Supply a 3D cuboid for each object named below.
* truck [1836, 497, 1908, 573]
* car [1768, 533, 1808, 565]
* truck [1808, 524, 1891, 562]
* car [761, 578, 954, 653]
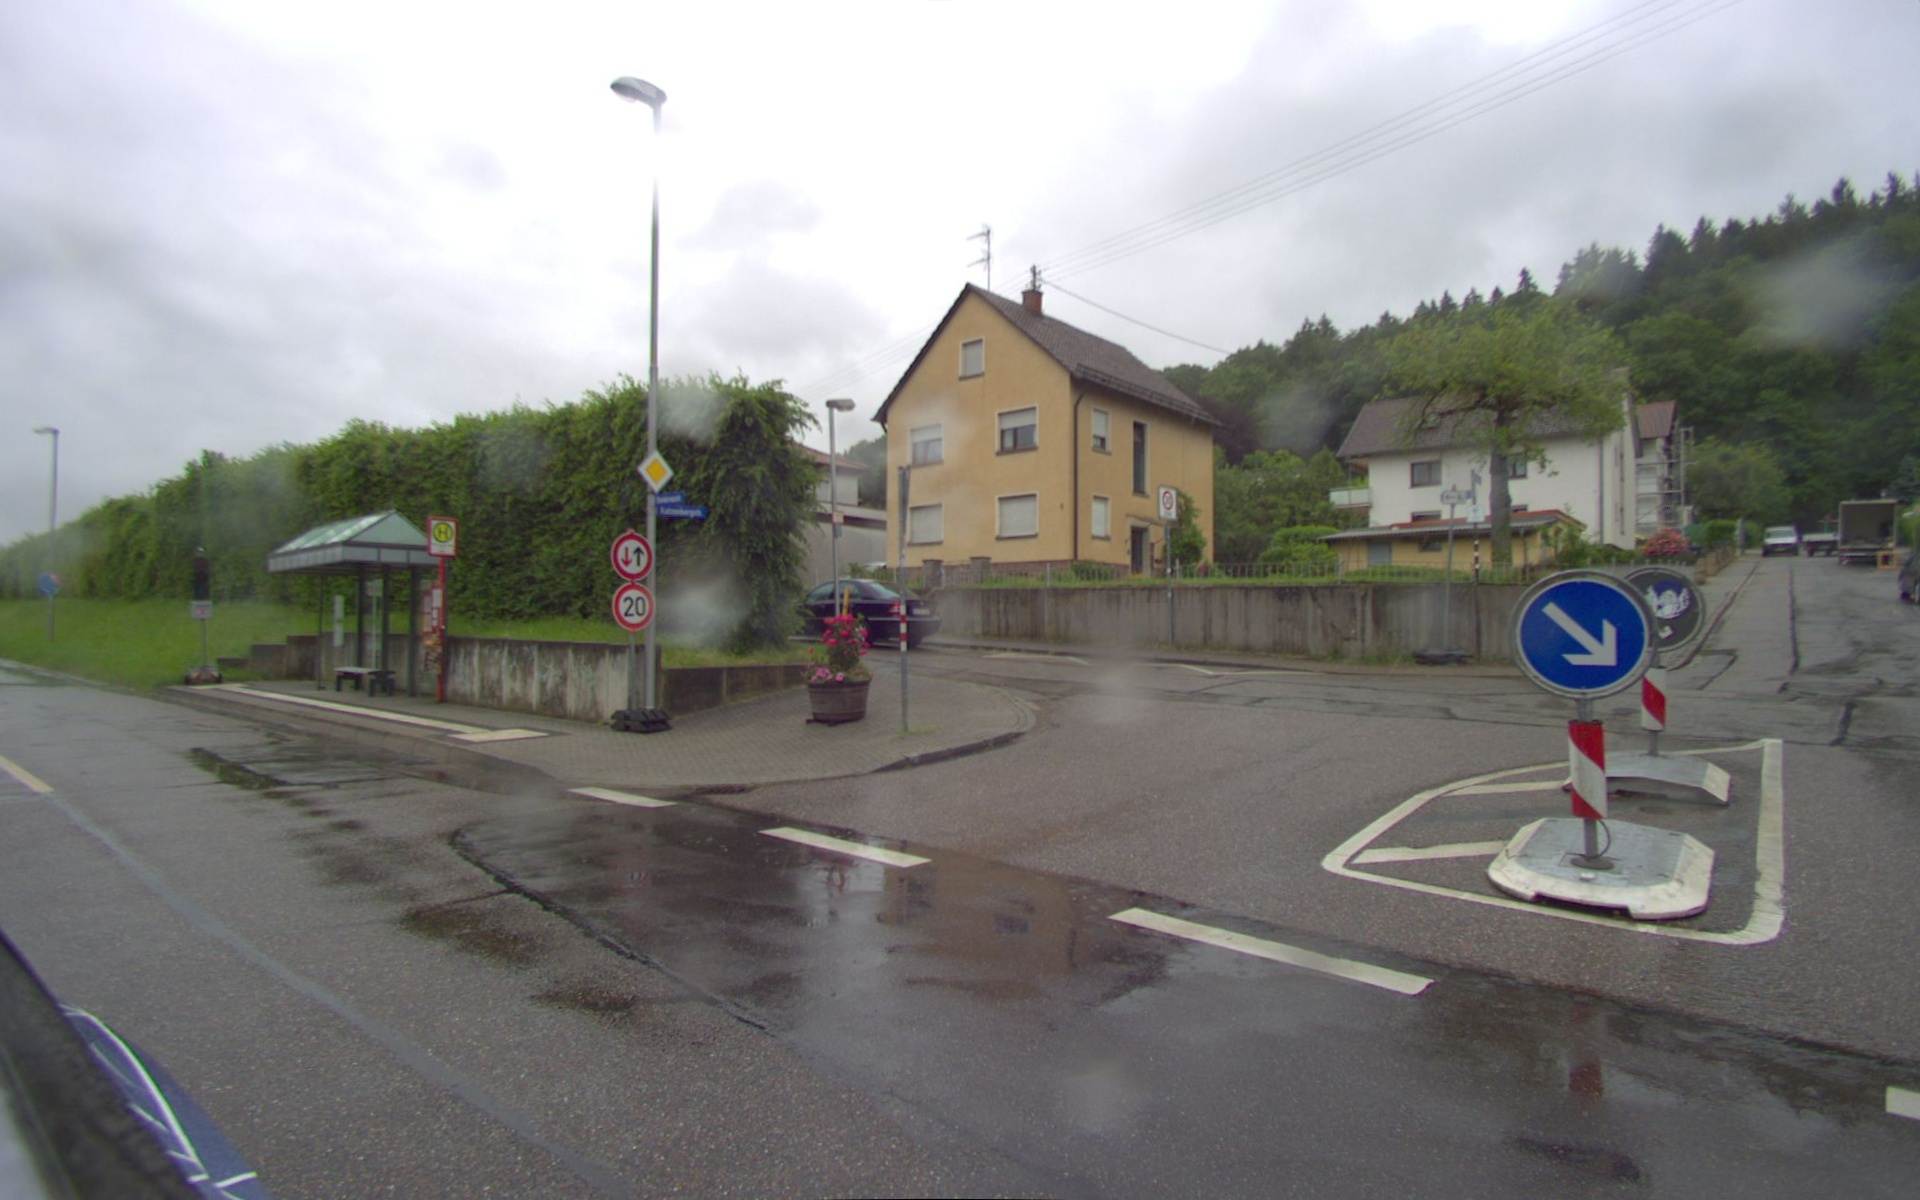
[{"bbox_3d":[44.532,-3.075,49.529,2.452,3.377,6.567,-1,1,41],"label":"truck"},{"bbox_3d":[55.198,-3.384,67.540,1.913,2.028,3.950,0,2,37],"label":"car"},{"bbox_3d":[55.036,-3.508,62.574,5.978,2.142,2.307,-2,1,-33],"label":"truck"},{"bbox_3d":[-2.287,0.280,21.992,4.221,1.399,1.726,3,1,41],"label":"car"}]
